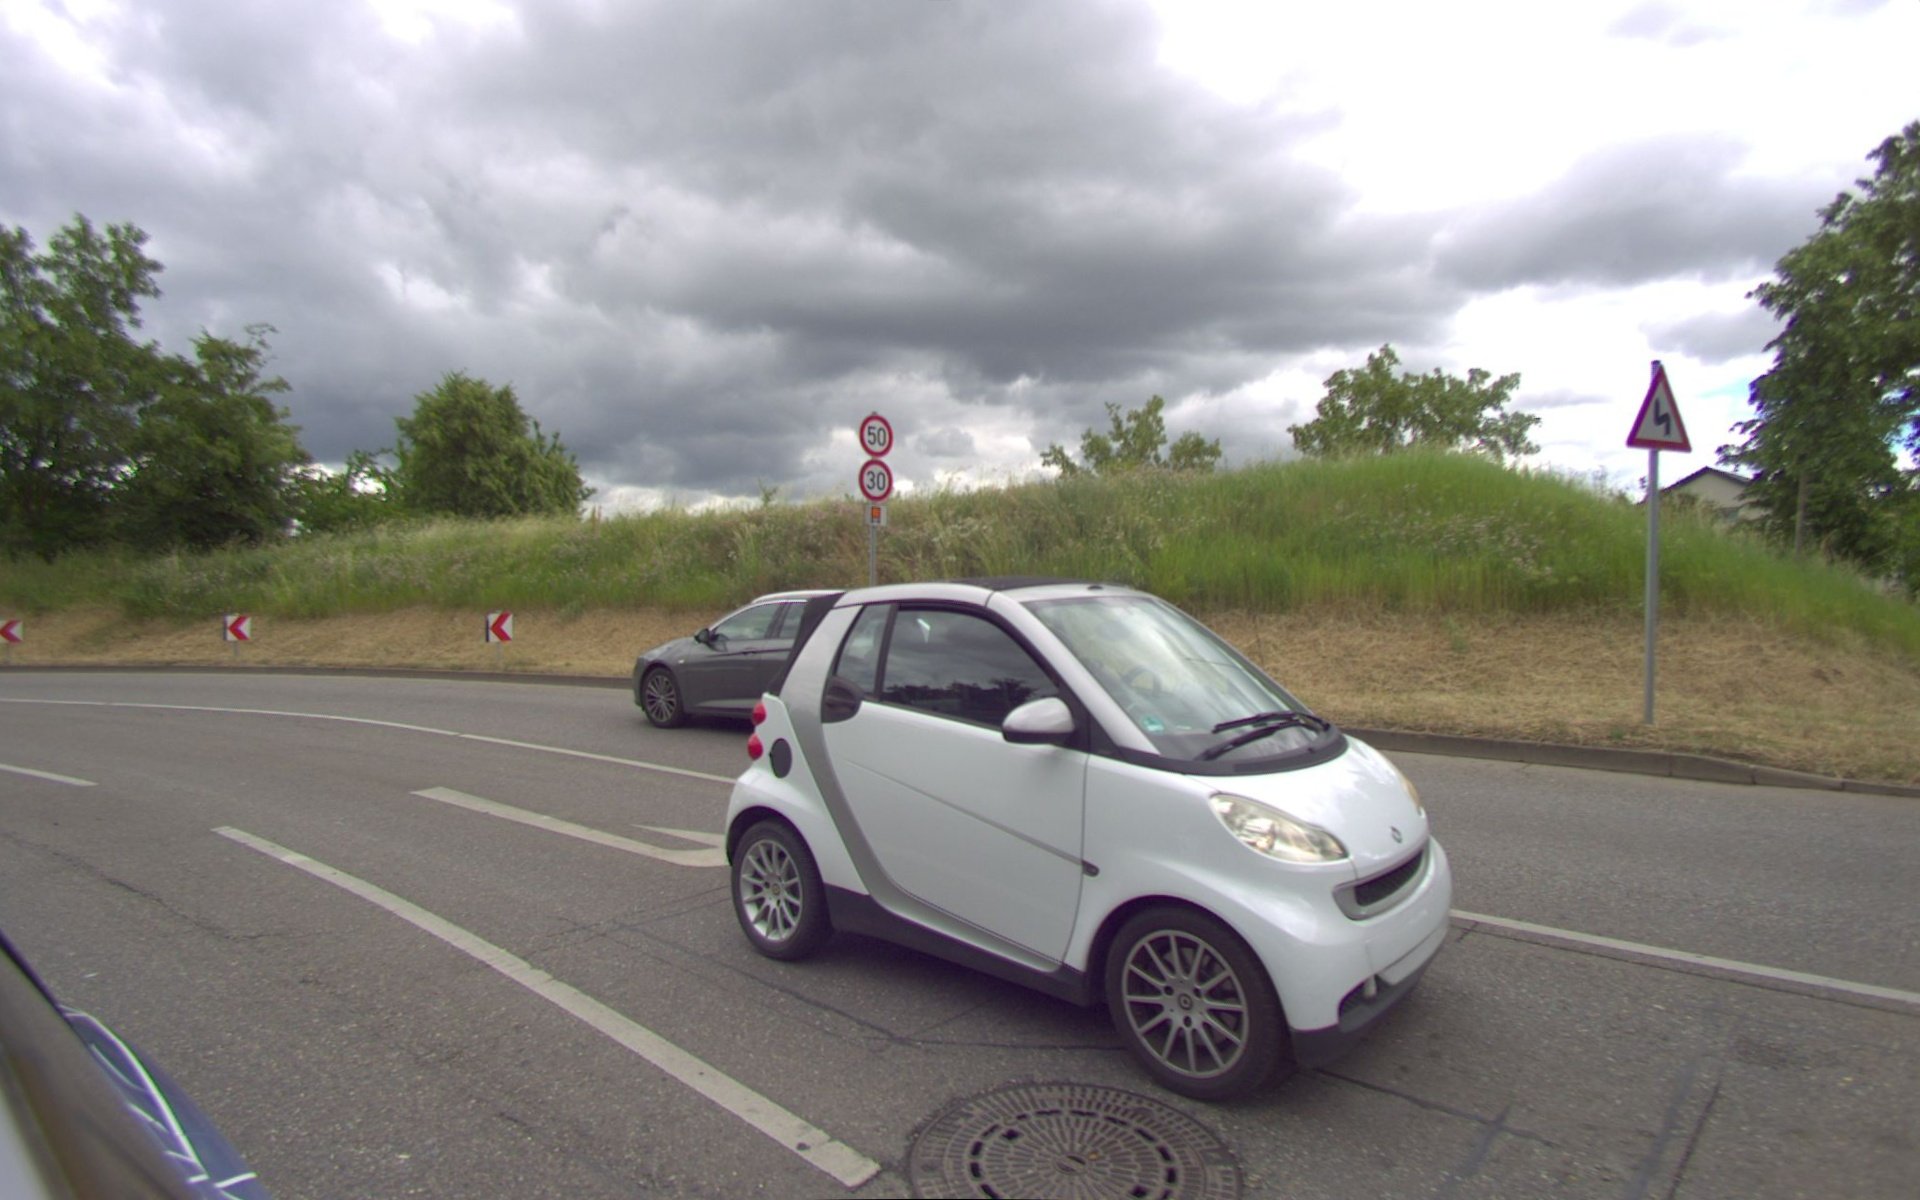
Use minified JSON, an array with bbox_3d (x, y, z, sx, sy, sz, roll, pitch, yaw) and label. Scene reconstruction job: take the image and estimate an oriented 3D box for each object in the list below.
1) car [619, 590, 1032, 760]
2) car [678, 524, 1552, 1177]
[{"bbox_3d":[-1.561,0.660,10.637,4.416,1.431,1.748,-1,0,39],"label":"car"},{"bbox_3d":[0.446,0.611,4.012,3.015,1.569,1.559,-2,1,41],"label":"car"}]
